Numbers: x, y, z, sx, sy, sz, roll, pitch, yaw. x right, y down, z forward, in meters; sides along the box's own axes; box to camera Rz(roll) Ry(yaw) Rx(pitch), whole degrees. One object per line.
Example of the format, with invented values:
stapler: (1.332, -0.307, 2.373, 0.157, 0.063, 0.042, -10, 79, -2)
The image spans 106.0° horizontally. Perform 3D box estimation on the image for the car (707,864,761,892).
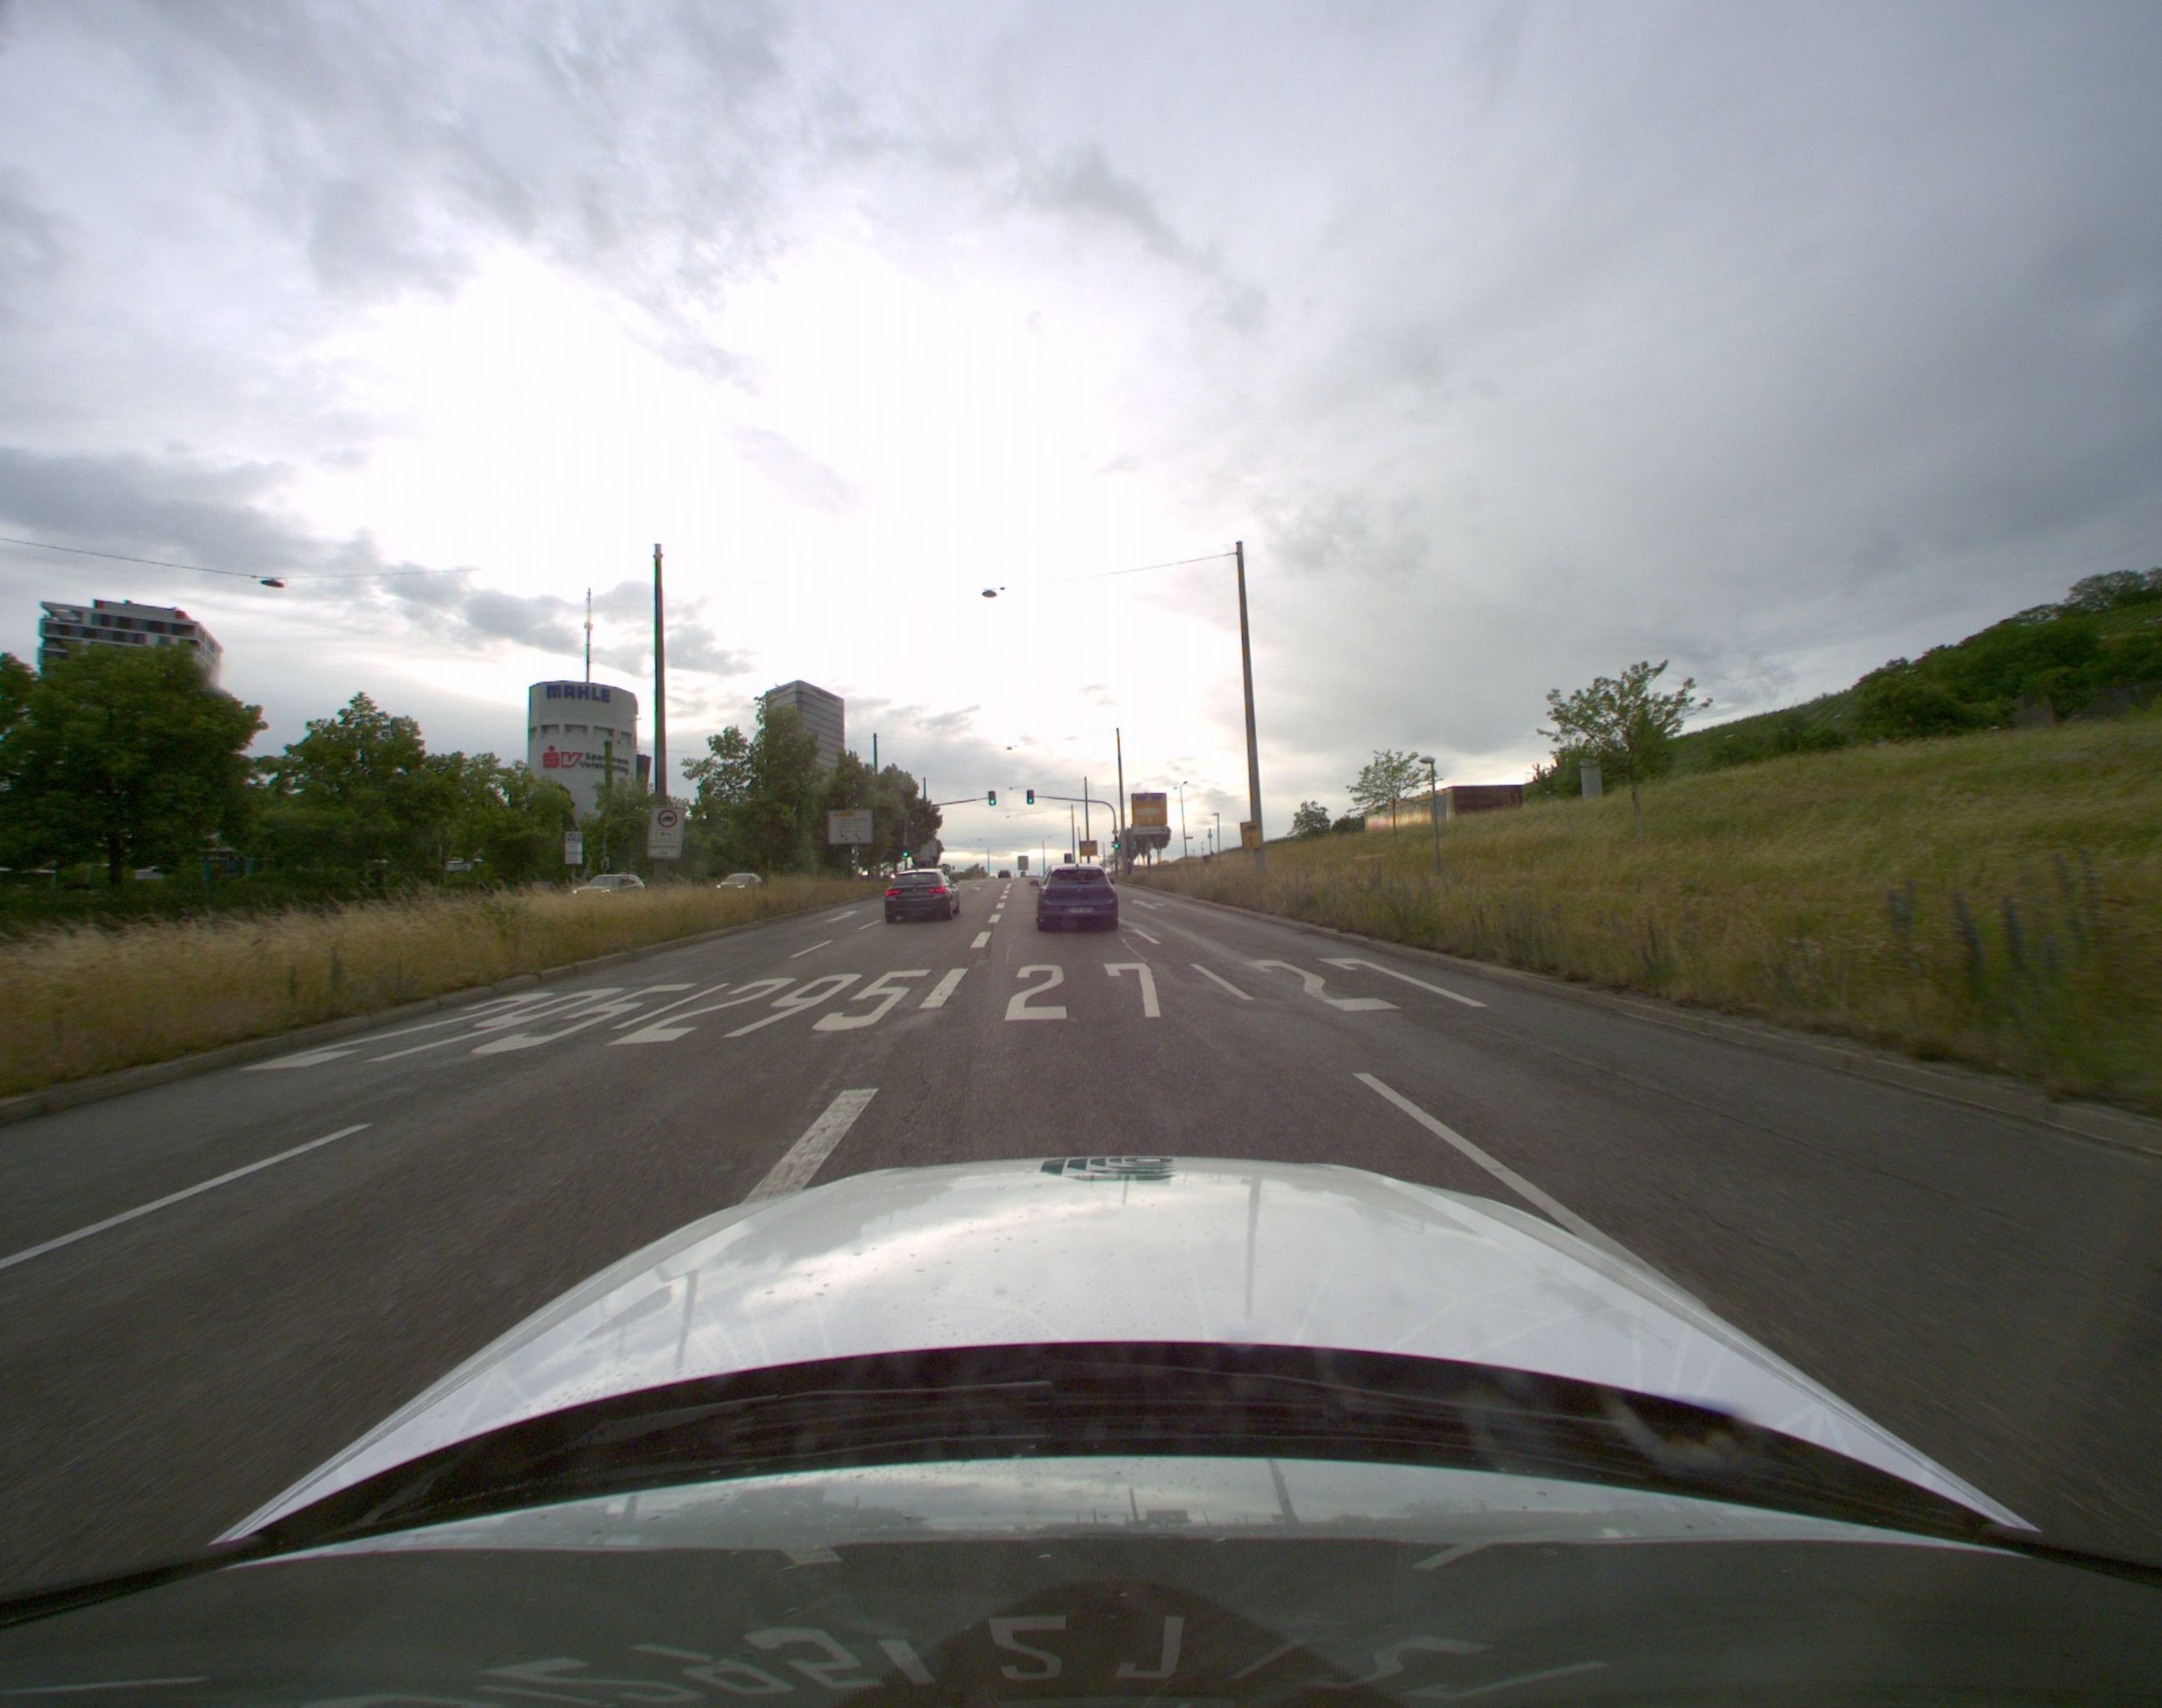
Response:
car: (-21.012, 1.420, 49.481, 1.992, 1.639, 4.008, -1, 0, -8)

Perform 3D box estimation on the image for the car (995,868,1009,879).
car: (-11.252, 2.775, 116.501, 1.718, 1.541, 3.700, 0, -1, -2)

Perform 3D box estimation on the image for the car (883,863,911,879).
car: (-18.848, 1.710, 83.443, 1.899, 1.507, 3.966, 0, 2, -26)

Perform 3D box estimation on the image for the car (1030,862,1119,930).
car: (-0.253, 0.908, 18.959, 1.834, 1.394, 3.994, 0, -1, -4)

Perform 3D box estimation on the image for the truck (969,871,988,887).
truck: (-22.676, 5.529, 180.400, 2.677, 3.221, 6.500, 0, -4, -21)

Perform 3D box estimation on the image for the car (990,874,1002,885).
car: (-17.291, 5.099, 164.805, 1.906, 1.973, 5.070, -3, -3, -12)

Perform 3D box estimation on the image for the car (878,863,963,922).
car: (-4.467, 1.019, 23.203, 1.866, 1.461, 3.969, -2, -1, -5)

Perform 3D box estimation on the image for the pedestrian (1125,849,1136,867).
pedestrian: (4.417, 0.379, 72.941, 0.633, 1.571, 0.892, -3, -1, -12)

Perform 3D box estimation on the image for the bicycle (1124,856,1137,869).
bicycle: (4.446, 0.764, 72.913, 0.633, 1.105, 1.745, -3, -1, -12)
